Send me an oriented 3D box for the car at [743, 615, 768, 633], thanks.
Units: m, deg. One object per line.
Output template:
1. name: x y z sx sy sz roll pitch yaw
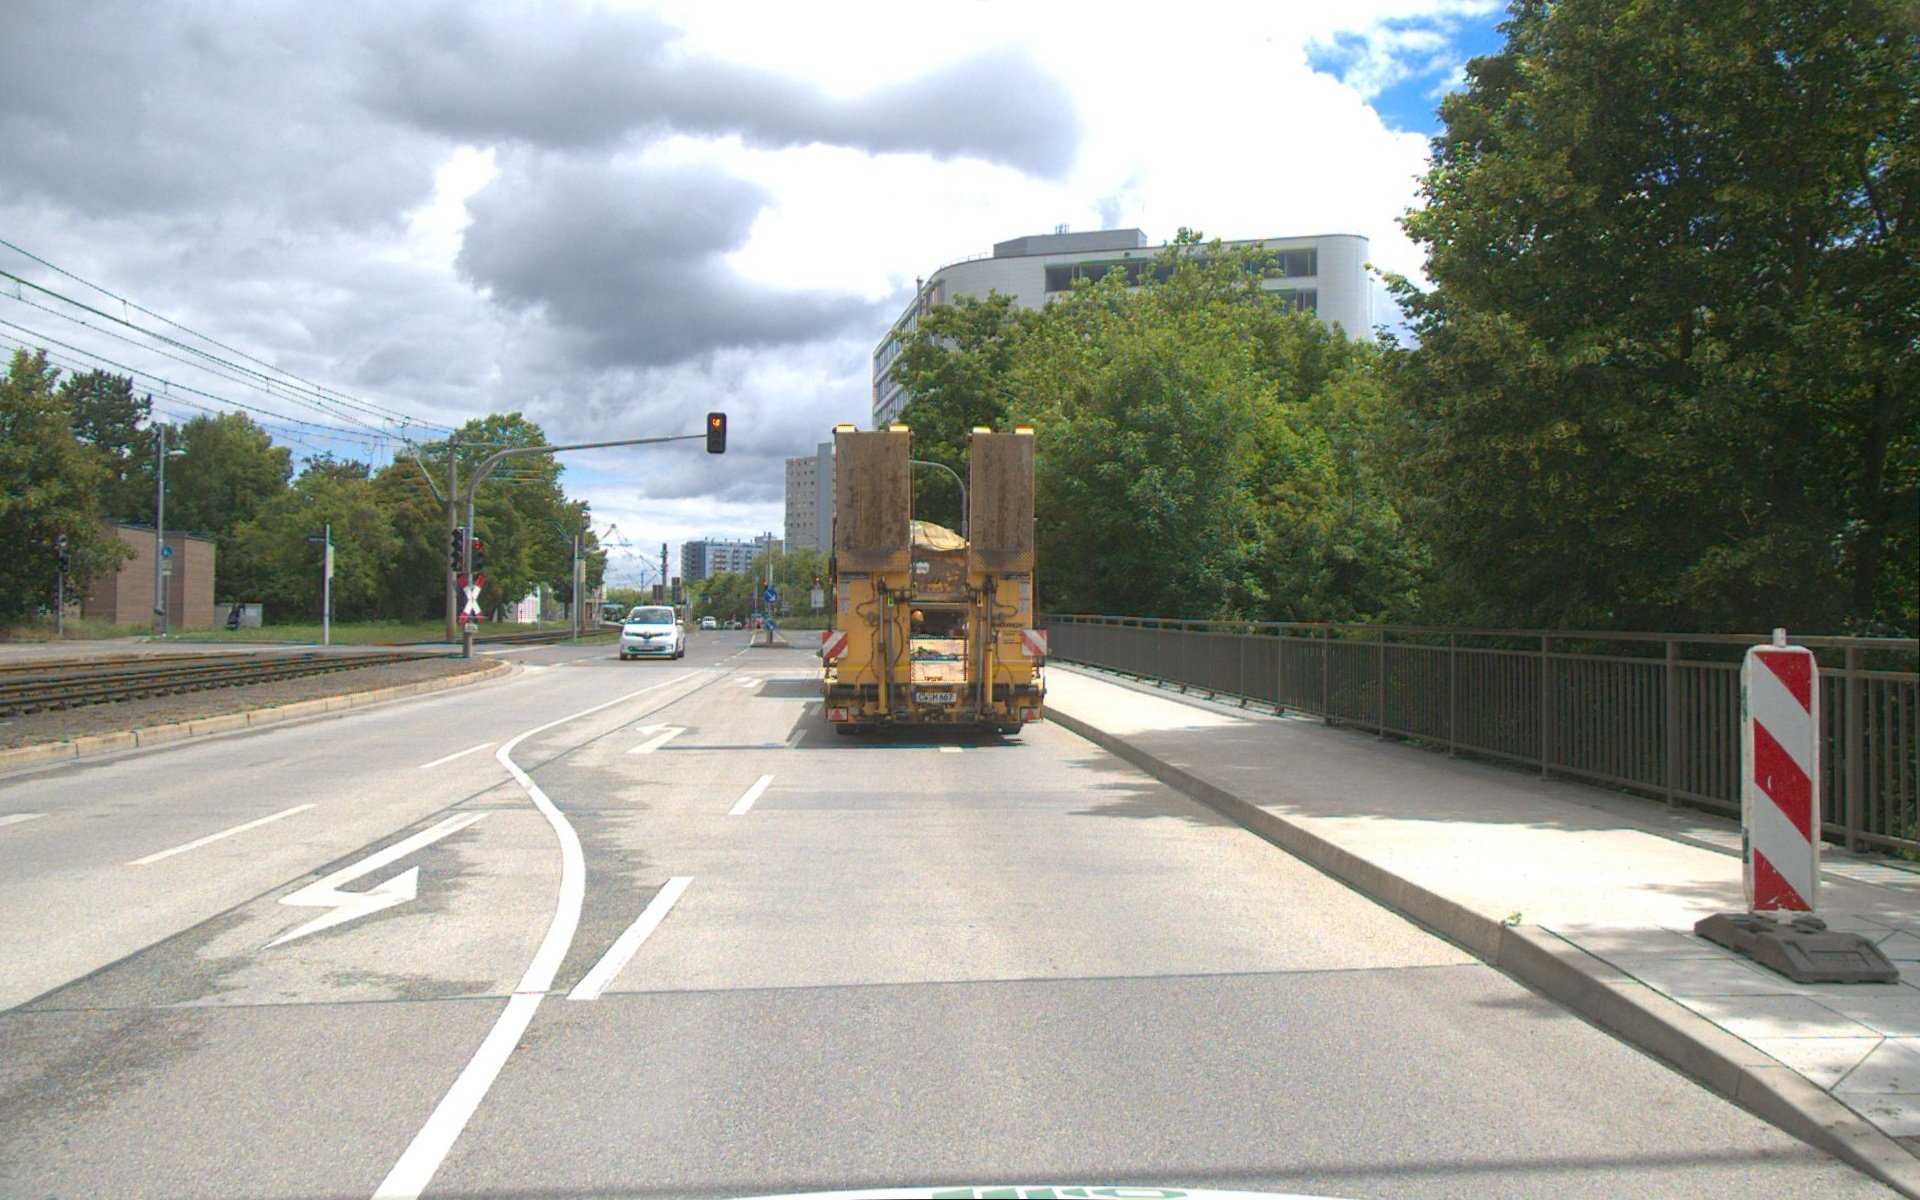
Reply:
1. car: -17.408 2.031 141.127 1.955 1.445 3.995 2 -1 -6

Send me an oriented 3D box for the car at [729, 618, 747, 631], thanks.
1. car: -22.743 2.475 169.583 1.750 1.294 4.338 0 -1 -7

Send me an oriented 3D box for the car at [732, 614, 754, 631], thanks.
1. car: -21.669 2.258 165.428 1.955 1.646 3.995 2 -1 -6

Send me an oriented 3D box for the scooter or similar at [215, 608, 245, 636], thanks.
1. scooter or similar: -32.702 0.980 74.117 0.873 1.205 0.971 2 -1 -4

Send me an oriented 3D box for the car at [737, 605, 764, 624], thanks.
1. car: -16.618 1.134 131.181 1.955 1.445 3.995 2 -1 -6

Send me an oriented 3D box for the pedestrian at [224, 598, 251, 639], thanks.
1. pedestrian: -32.762 0.837 74.985 0.785 1.843 0.808 2 -1 -2

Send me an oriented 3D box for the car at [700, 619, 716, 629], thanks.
1. car: -30.467 2.904 200.251 1.750 1.294 4.338 0 -1 -7

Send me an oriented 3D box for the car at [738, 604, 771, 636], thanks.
1. car: -13.422 1.322 108.310 1.955 1.959 3.995 2 -1 -6

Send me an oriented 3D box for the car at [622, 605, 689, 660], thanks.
1. car: -8.967 0.941 48.924 1.561 1.553 3.652 0 -1 -4

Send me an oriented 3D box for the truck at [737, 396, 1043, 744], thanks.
1. truck: -0.822 -0.257 24.470 3.248 3.715 12.559 2 -1 -1
